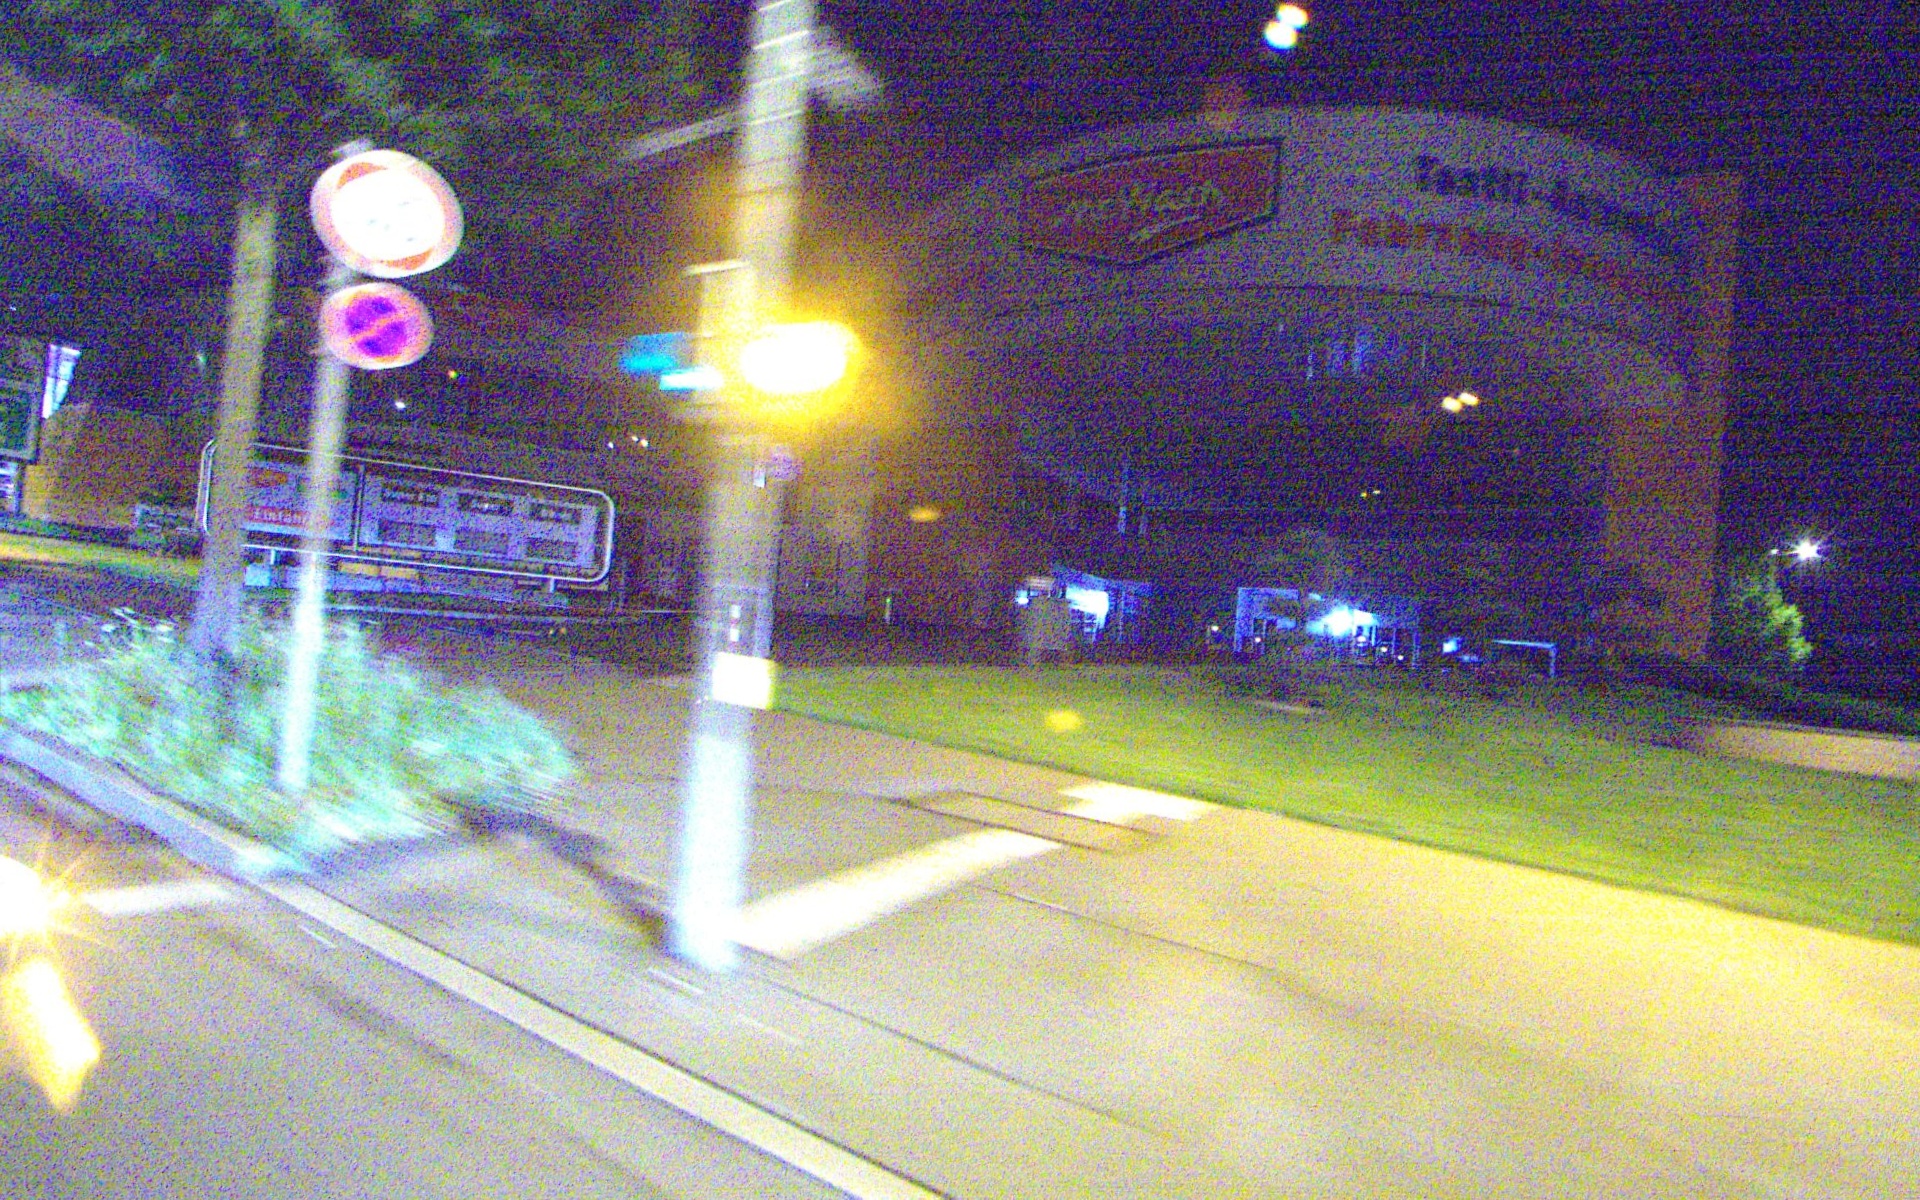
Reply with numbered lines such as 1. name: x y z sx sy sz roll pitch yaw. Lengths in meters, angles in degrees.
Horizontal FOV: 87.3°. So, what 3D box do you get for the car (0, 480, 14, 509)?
1. car: -62.149 -6.863 63.366 3.892 1.734 1.811 6 1 12
